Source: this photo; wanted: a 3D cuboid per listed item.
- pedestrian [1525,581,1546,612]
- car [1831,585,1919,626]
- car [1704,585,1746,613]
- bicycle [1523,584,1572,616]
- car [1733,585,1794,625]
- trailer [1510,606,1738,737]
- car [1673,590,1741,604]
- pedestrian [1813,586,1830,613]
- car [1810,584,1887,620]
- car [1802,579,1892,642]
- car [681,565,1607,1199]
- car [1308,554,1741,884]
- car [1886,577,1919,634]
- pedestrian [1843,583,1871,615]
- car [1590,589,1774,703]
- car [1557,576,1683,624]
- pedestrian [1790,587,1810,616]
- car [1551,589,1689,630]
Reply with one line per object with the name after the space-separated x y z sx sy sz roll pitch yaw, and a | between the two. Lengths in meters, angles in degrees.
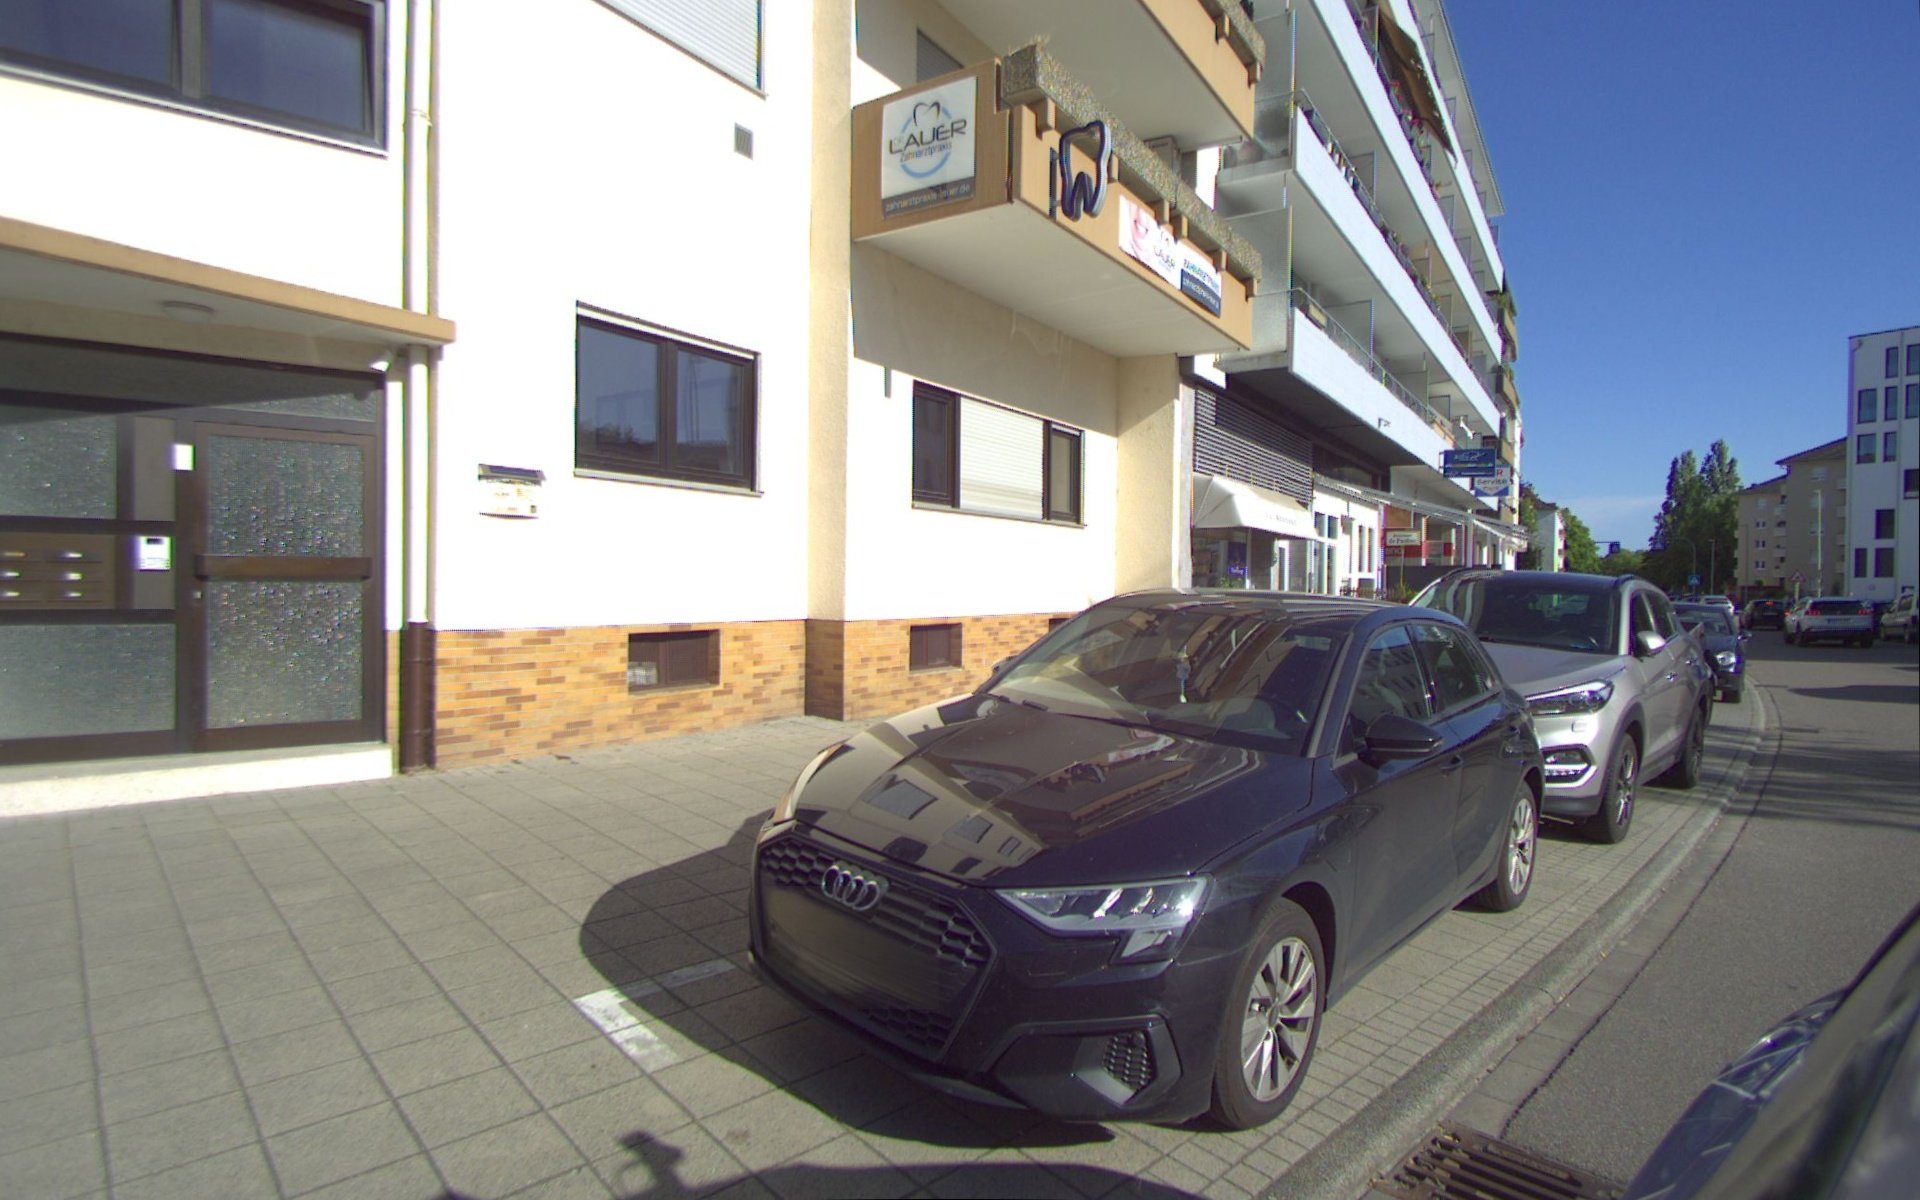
30.109 -0.198 52.966 0.831 1.613 0.876 2 2 38 | pedestrian
38.304 0.188 42.460 1.899 1.549 4.574 0 2 31 | car
47.532 -0.069 62.934 1.722 1.503 4.056 8 5 34 | car
24.118 0.019 41.525 2.216 1.270 0.707 1 -1 -30 | bicycle
38.403 0.208 48.451 1.732 1.530 3.691 4 6 31 | car
7.610 0.711 11.530 2.895 1.193 1.604 -1 2 -45 | trailer
66.300 -0.267 89.860 4.482 1.182 1.998 -1 0 5 | car
62.529 -0.042 73.464 0.832 1.908 0.790 -3 3 -41 | pedestrian
40.822 0.058 46.601 1.899 1.497 4.333 0 2 31 | car
28.852 0.273 33.039 1.915 1.745 4.280 1 3 38 | car
1.189 0.644 4.205 1.718 1.426 4.247 4 3 43 | car
4.444 0.536 7.585 1.817 1.673 4.491 1 4 43 | car
32.904 0.167 34.067 1.679 1.862 4.294 0 1 30 | car
50.317 -0.066 56.781 0.857 1.736 0.979 0 1 -35 | pedestrian
11.697 0.601 16.244 1.969 1.468 4.930 1 2 41 | car
29.975 -0.007 46.031 4.437 1.920 2.054 2 3 -7 | car
63.216 0.084 76.151 0.763 2.148 0.955 -1 0 12 | pedestrian
26.037 0.365 39.952 4.551 1.484 1.694 0 2 -9 | car
